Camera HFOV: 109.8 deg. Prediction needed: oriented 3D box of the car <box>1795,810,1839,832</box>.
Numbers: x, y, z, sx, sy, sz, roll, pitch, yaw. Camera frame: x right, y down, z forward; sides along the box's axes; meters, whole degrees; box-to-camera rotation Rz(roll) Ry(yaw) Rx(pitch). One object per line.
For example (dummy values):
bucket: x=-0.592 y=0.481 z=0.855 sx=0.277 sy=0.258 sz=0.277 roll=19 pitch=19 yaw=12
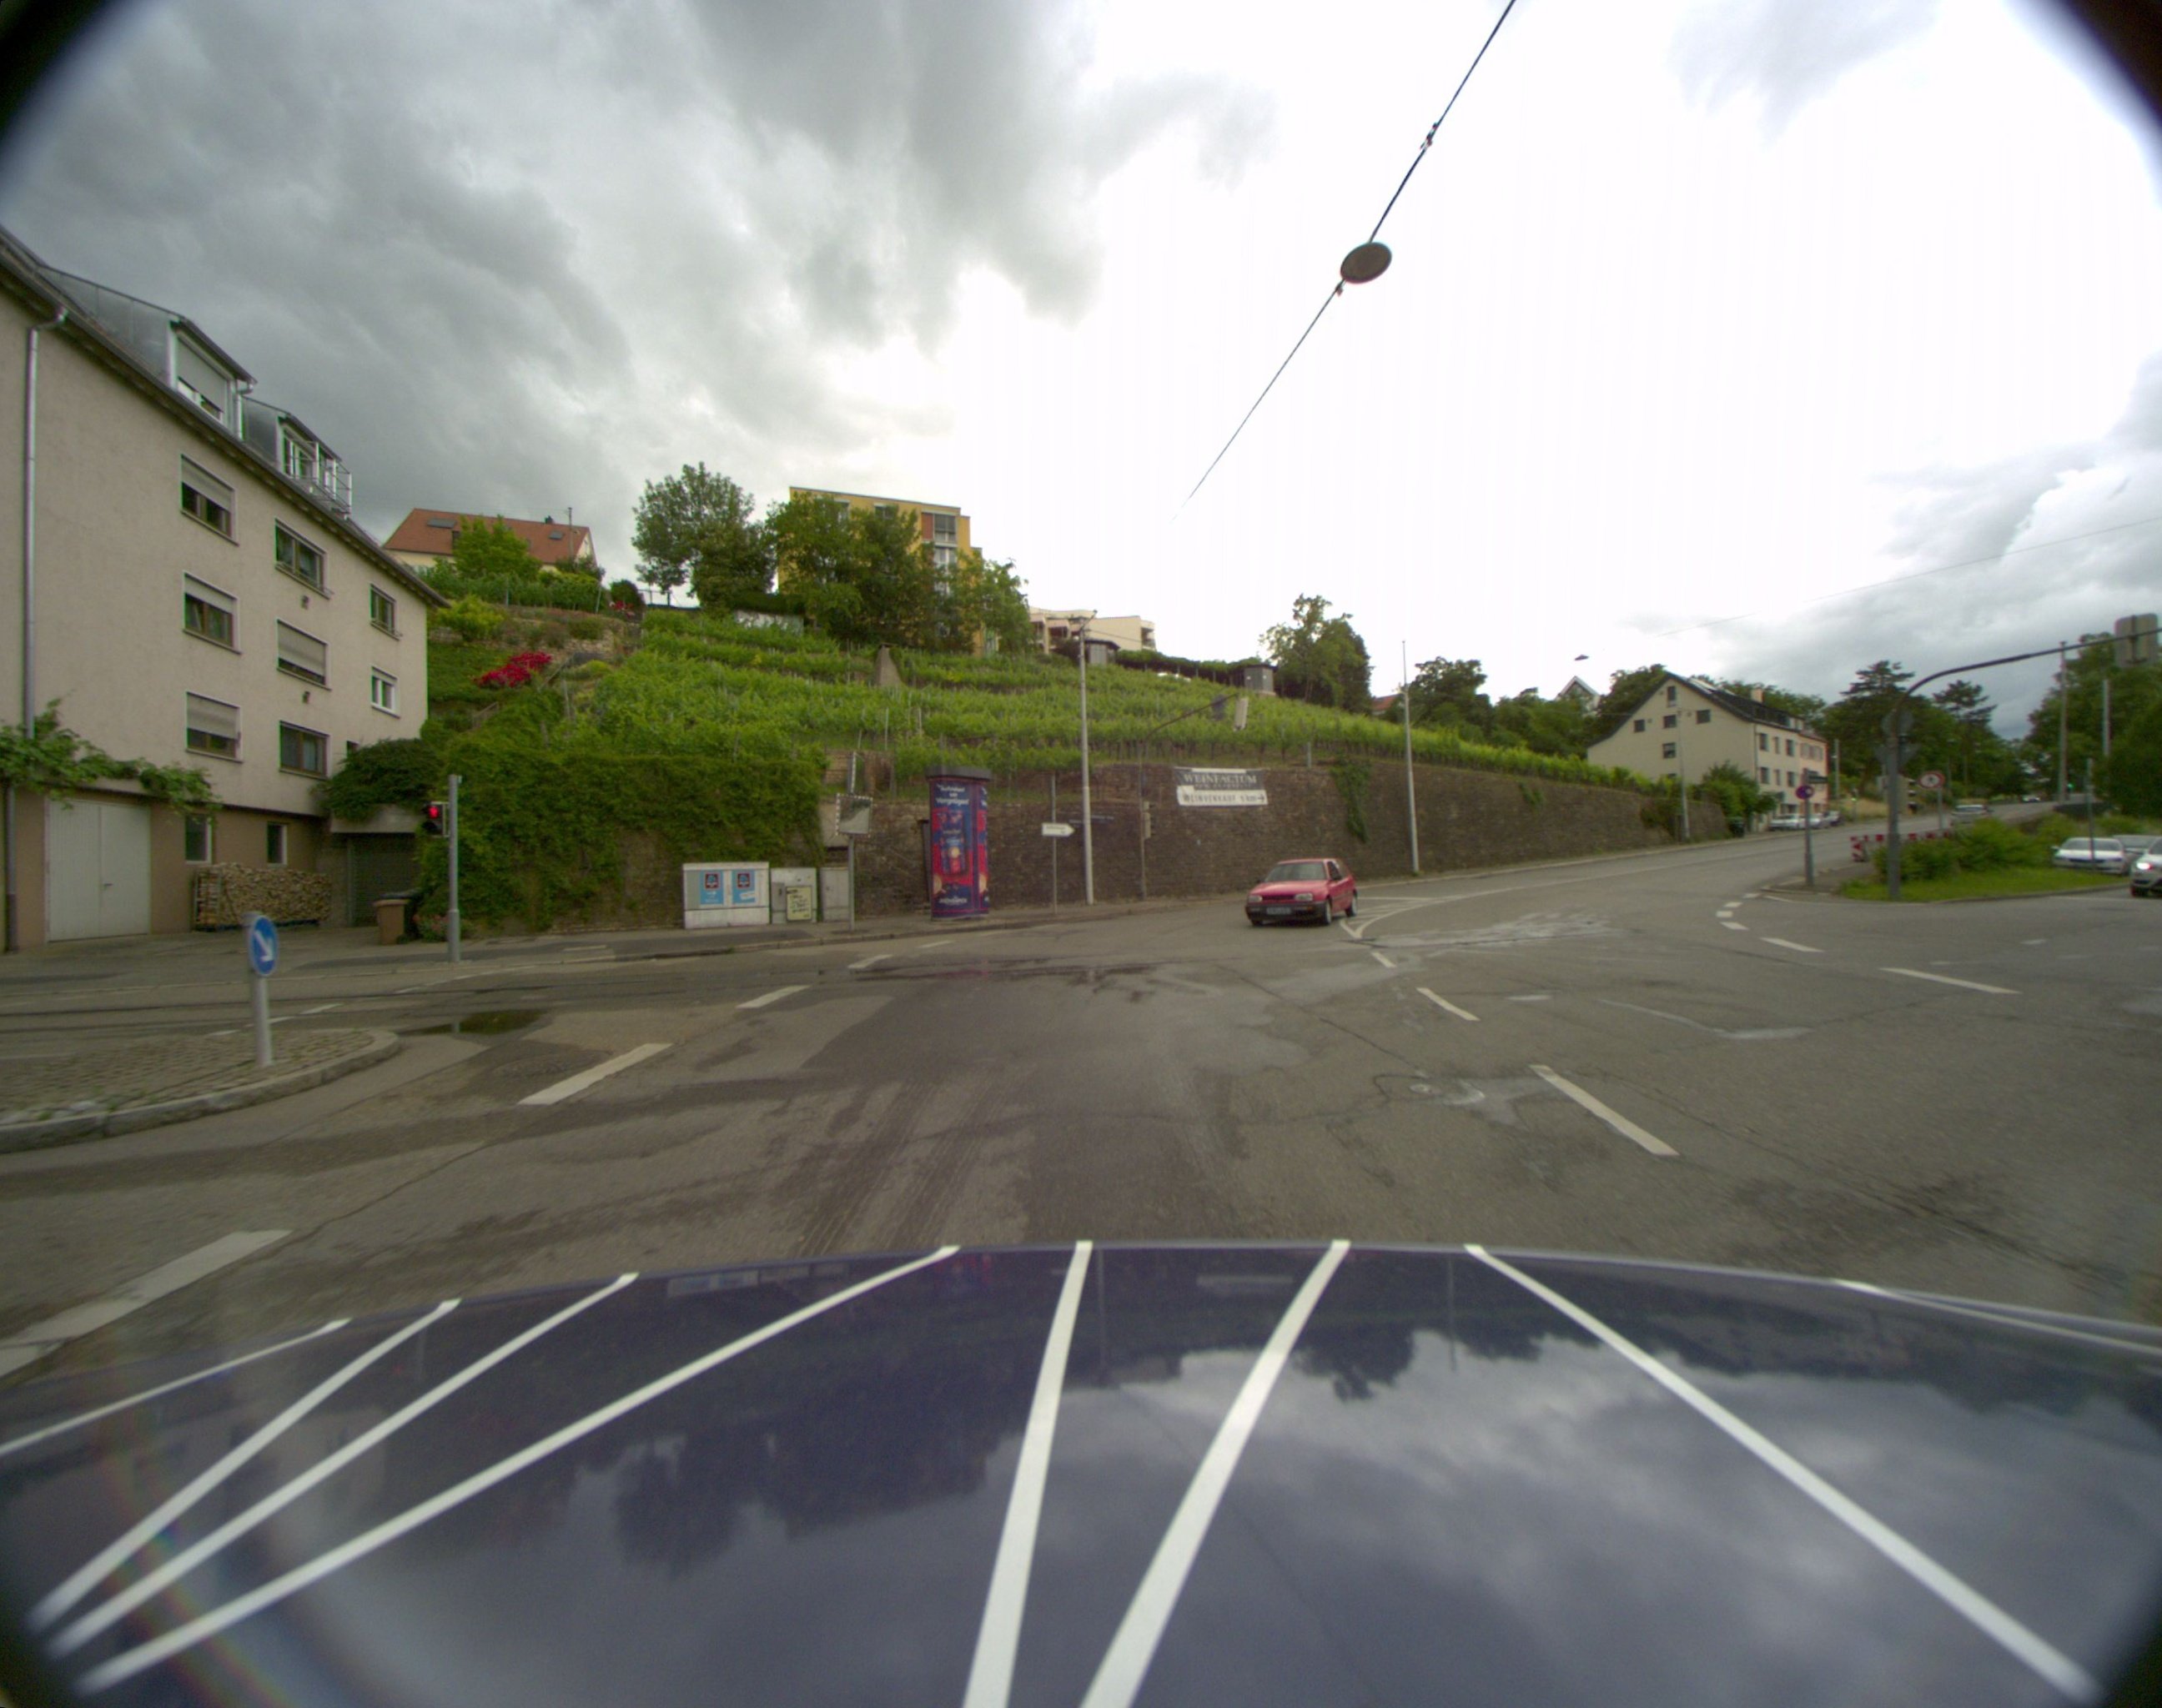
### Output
car: x=64.641 y=-2.915 z=66.746 sx=4.255 sy=1.565 sz=1.729 roll=-4 pitch=0 yaw=-32

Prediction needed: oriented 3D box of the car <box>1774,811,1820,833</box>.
car: x=60.568 y=-2.708 z=64.236 sx=4.061 sy=1.565 sz=1.796 roll=-4 pitch=0 yaw=-32

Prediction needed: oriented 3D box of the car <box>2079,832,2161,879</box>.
car: x=43.326 y=0.030 z=31.369 sx=4.006 sy=1.827 sz=1.995 roll=-1 pitch=1 yaw=-29

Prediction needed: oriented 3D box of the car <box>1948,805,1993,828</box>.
car: x=62.265 y=-2.611 z=53.173 sx=3.650 sy=1.459 sz=1.670 roll=0 pitch=1 yaw=-35

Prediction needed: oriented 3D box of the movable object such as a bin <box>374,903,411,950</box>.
movable object such as a bin: x=-14.095 y=1.477 z=15.561 sx=0.496 sy=0.906 sz=0.344 roll=-3 pitch=1 yaw=-36

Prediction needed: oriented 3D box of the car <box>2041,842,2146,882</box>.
car: x=39.044 y=0.277 z=29.282 sx=4.006 sy=1.434 sz=1.873 roll=-1 pitch=1 yaw=-29

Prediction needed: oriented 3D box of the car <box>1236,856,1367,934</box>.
car: x=5.068 y=0.837 z=17.069 sx=1.643 sy=1.430 sz=4.007 roll=-3 pitch=0 yaw=34

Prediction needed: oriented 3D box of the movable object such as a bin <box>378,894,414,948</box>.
movable object such as a bin: x=-14.374 y=1.401 z=15.957 sx=0.473 sy=1.076 sz=0.407 roll=-3 pitch=1 yaw=-36

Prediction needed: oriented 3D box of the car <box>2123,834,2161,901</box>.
car: x=28.604 y=0.284 z=19.450 sx=4.429 sy=1.505 sz=1.830 roll=-3 pitch=0 yaw=-31

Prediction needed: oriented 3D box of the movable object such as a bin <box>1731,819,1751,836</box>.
movable object such as a bin: x=47.176 y=-1.887 z=54.335 sx=0.876 sy=1.120 sz=0.809 roll=-4 pitch=1 yaw=-33
